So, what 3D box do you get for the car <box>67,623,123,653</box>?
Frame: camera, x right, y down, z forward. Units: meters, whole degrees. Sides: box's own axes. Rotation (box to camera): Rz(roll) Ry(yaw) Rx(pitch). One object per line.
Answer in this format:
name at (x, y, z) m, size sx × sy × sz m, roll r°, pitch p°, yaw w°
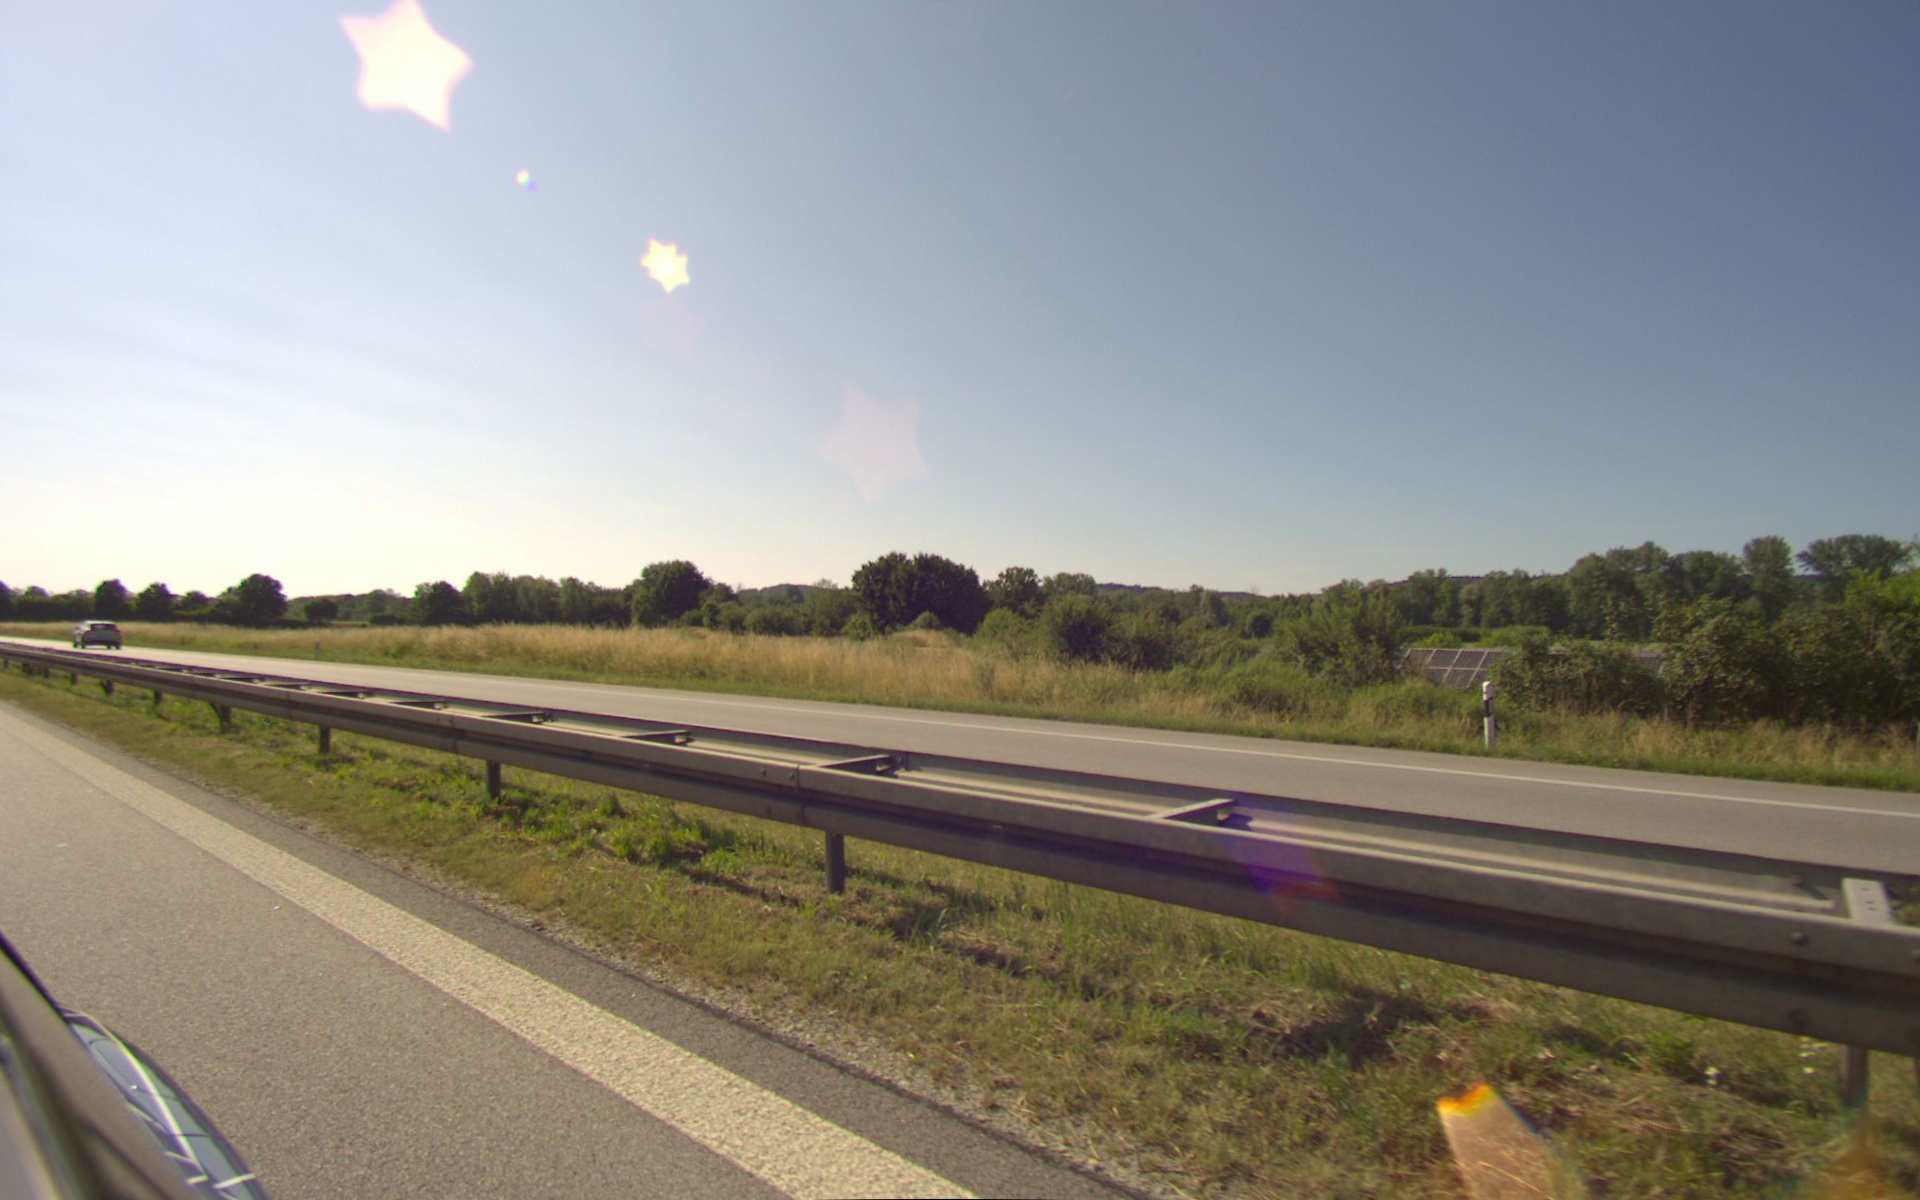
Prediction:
car at (-52.382, 2.288, 61.233) m, size 4.729 × 1.696 × 1.882 m, roll -1°, pitch -3°, yaw 41°
